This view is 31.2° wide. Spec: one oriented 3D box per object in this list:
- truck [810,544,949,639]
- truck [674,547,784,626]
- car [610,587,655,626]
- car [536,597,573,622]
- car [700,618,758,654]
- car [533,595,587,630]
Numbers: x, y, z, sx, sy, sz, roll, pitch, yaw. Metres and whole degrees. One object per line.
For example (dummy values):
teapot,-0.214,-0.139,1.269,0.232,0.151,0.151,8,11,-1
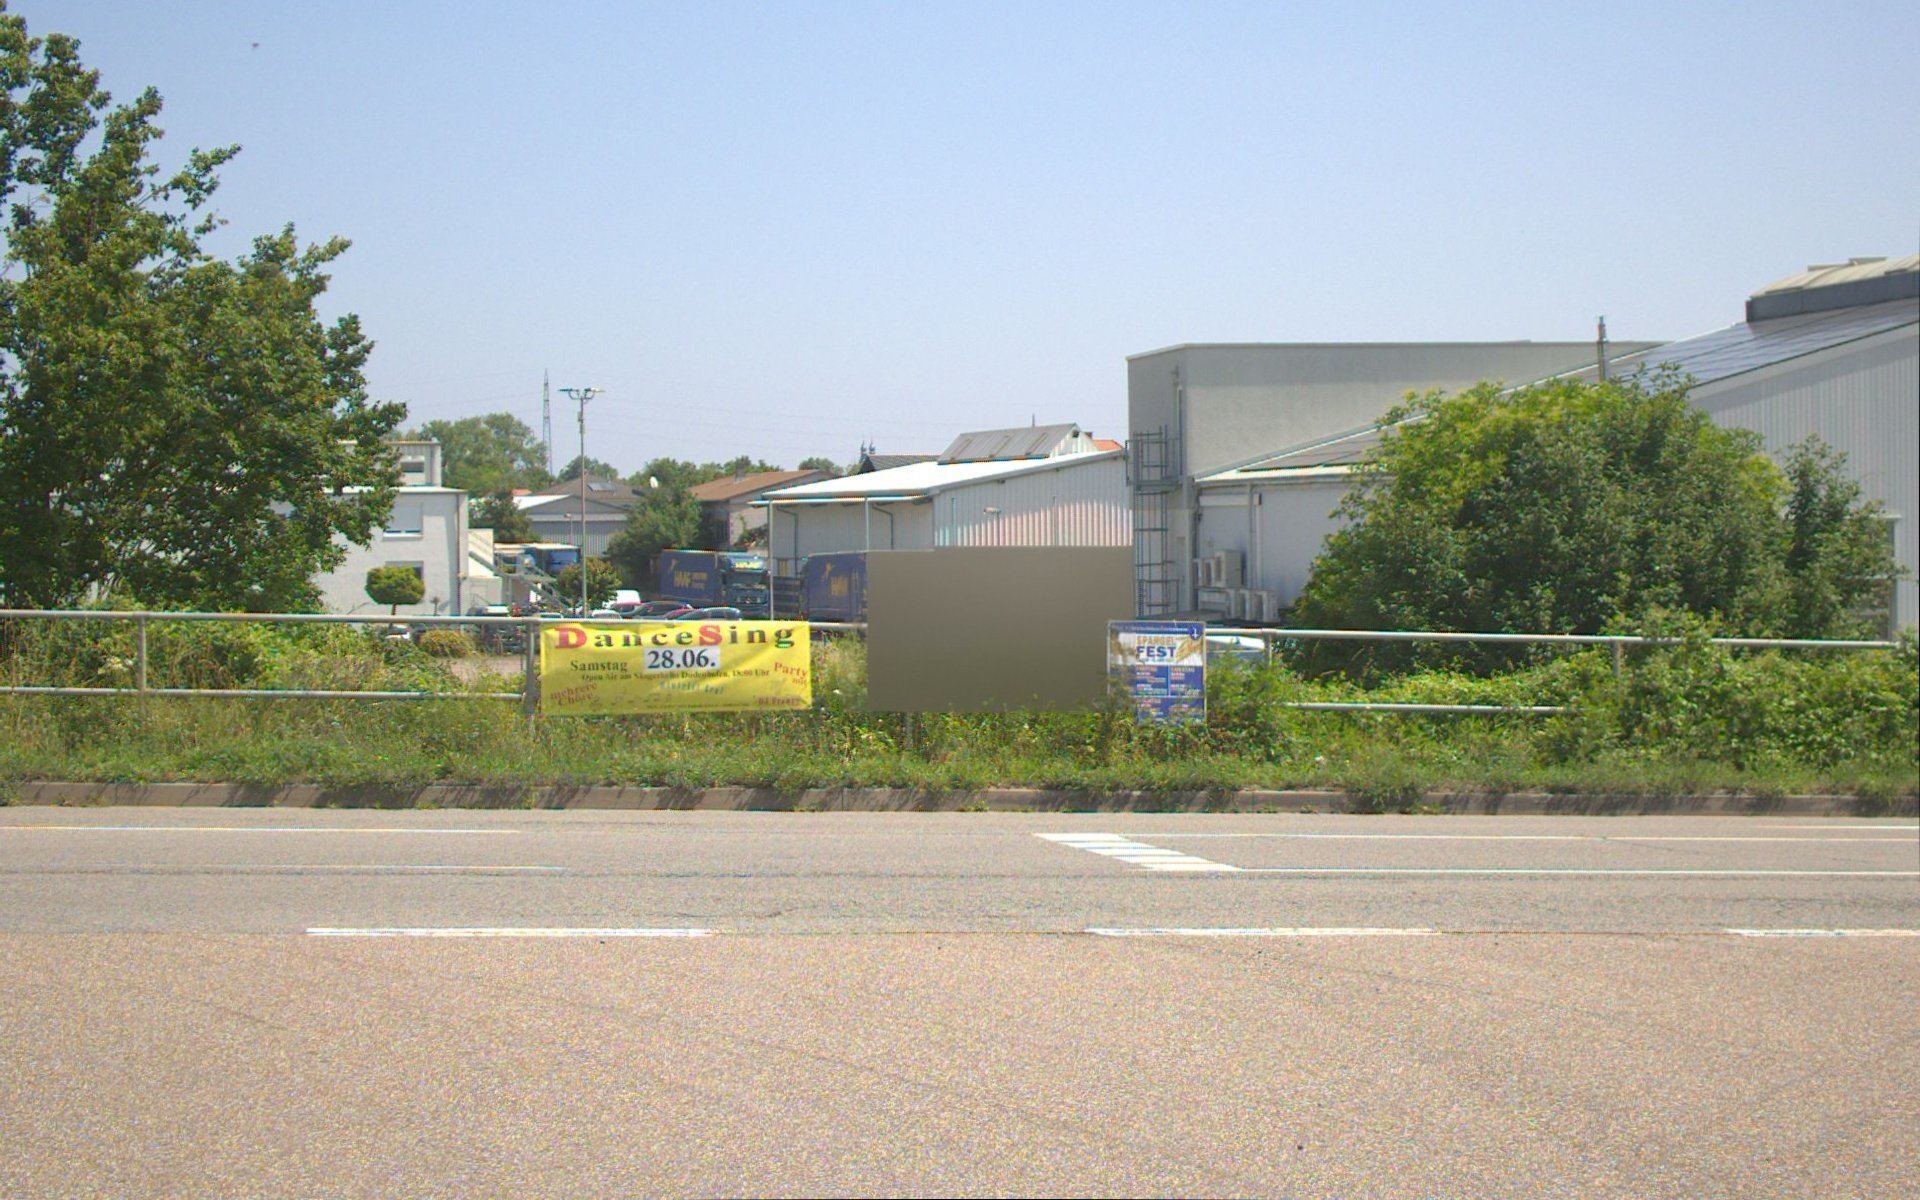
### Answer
truck,-3.995,-0.456,164.487,3.707,4.296,13.346,1,0,-14
truck,-13.361,-0.831,197.605,3.410,4.296,14.597,1,0,-15
car,-17.770,0.347,186.461,1.716,2.007,4.001,1,1,-16
car,-22.186,0.507,187.971,1.450,1.346,3.317,1,0,-17
car,-9.872,1.531,146.829,1.682,1.358,3.837,-2,1,-16
car,-20.906,0.659,179.422,1.993,1.725,4.865,1,0,-16
